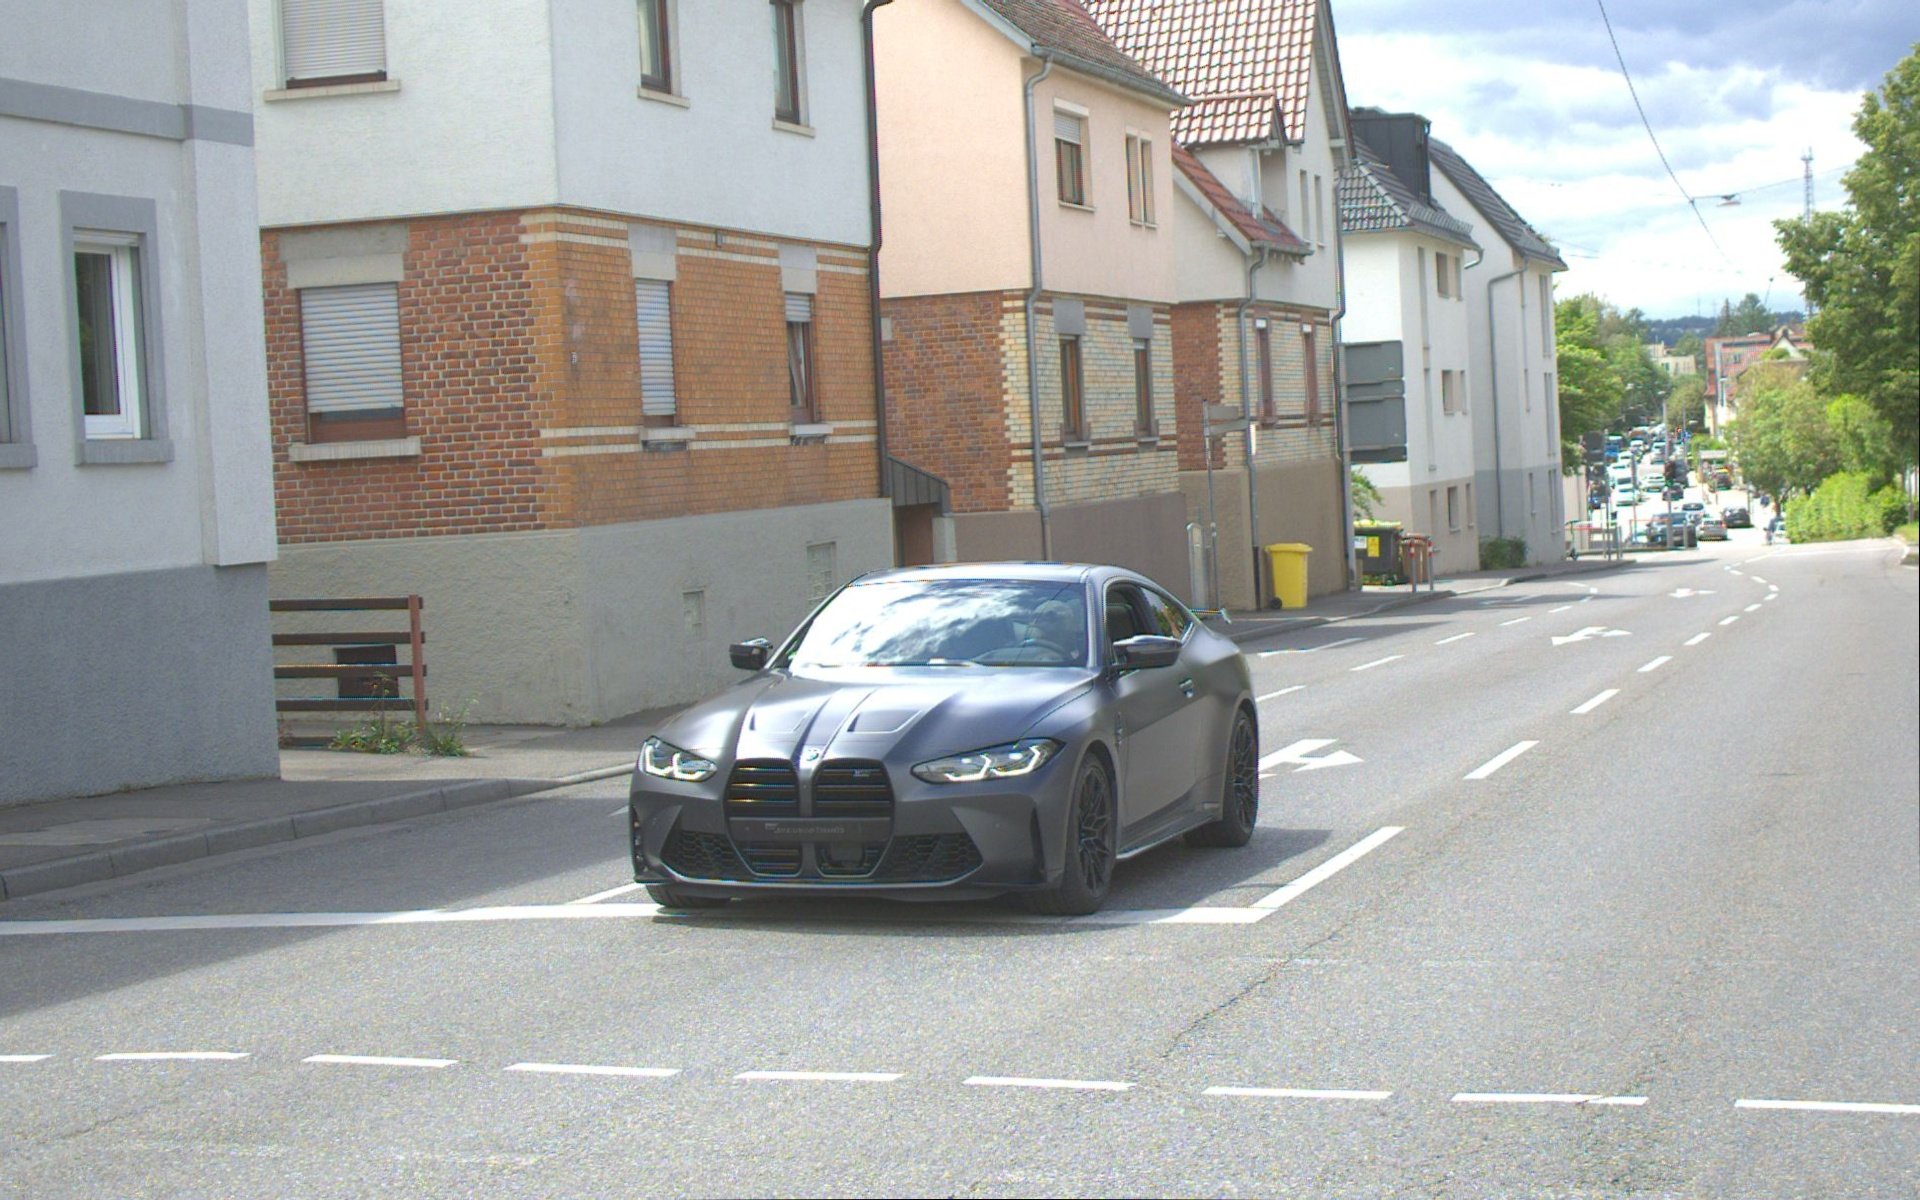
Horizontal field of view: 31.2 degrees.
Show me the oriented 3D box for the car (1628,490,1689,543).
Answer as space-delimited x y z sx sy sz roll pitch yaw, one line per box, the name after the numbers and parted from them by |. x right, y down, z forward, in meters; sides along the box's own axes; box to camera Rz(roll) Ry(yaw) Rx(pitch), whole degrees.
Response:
27.679 -3.301 136.307 1.994 2.007 3.999 -2 1 7 | car

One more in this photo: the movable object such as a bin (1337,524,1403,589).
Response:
8.628 -0.919 72.402 1.282 1.305 0.816 -2 1 11 | movable object such as a bin

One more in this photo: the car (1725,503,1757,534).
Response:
53.568 -5.576 235.876 1.994 2.007 3.998 -3 0 12 | car

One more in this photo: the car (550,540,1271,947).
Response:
-0.015 0.502 15.334 1.995 1.452 4.614 0 2 15 | car

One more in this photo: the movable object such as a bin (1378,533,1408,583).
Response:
9.268 -0.901 73.580 0.532 1.026 0.455 -2 1 14 | movable object such as a bin

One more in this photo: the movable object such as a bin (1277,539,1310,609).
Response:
5.506 -0.424 56.730 0.431 1.124 0.299 -3 1 15 | movable object such as a bin

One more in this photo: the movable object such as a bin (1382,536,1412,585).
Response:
9.329 -0.844 73.377 0.532 1.026 0.455 -2 1 14 | movable object such as a bin

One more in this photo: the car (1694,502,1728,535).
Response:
48.266 -5.234 220.966 1.994 2.007 3.998 -3 0 12 | car
